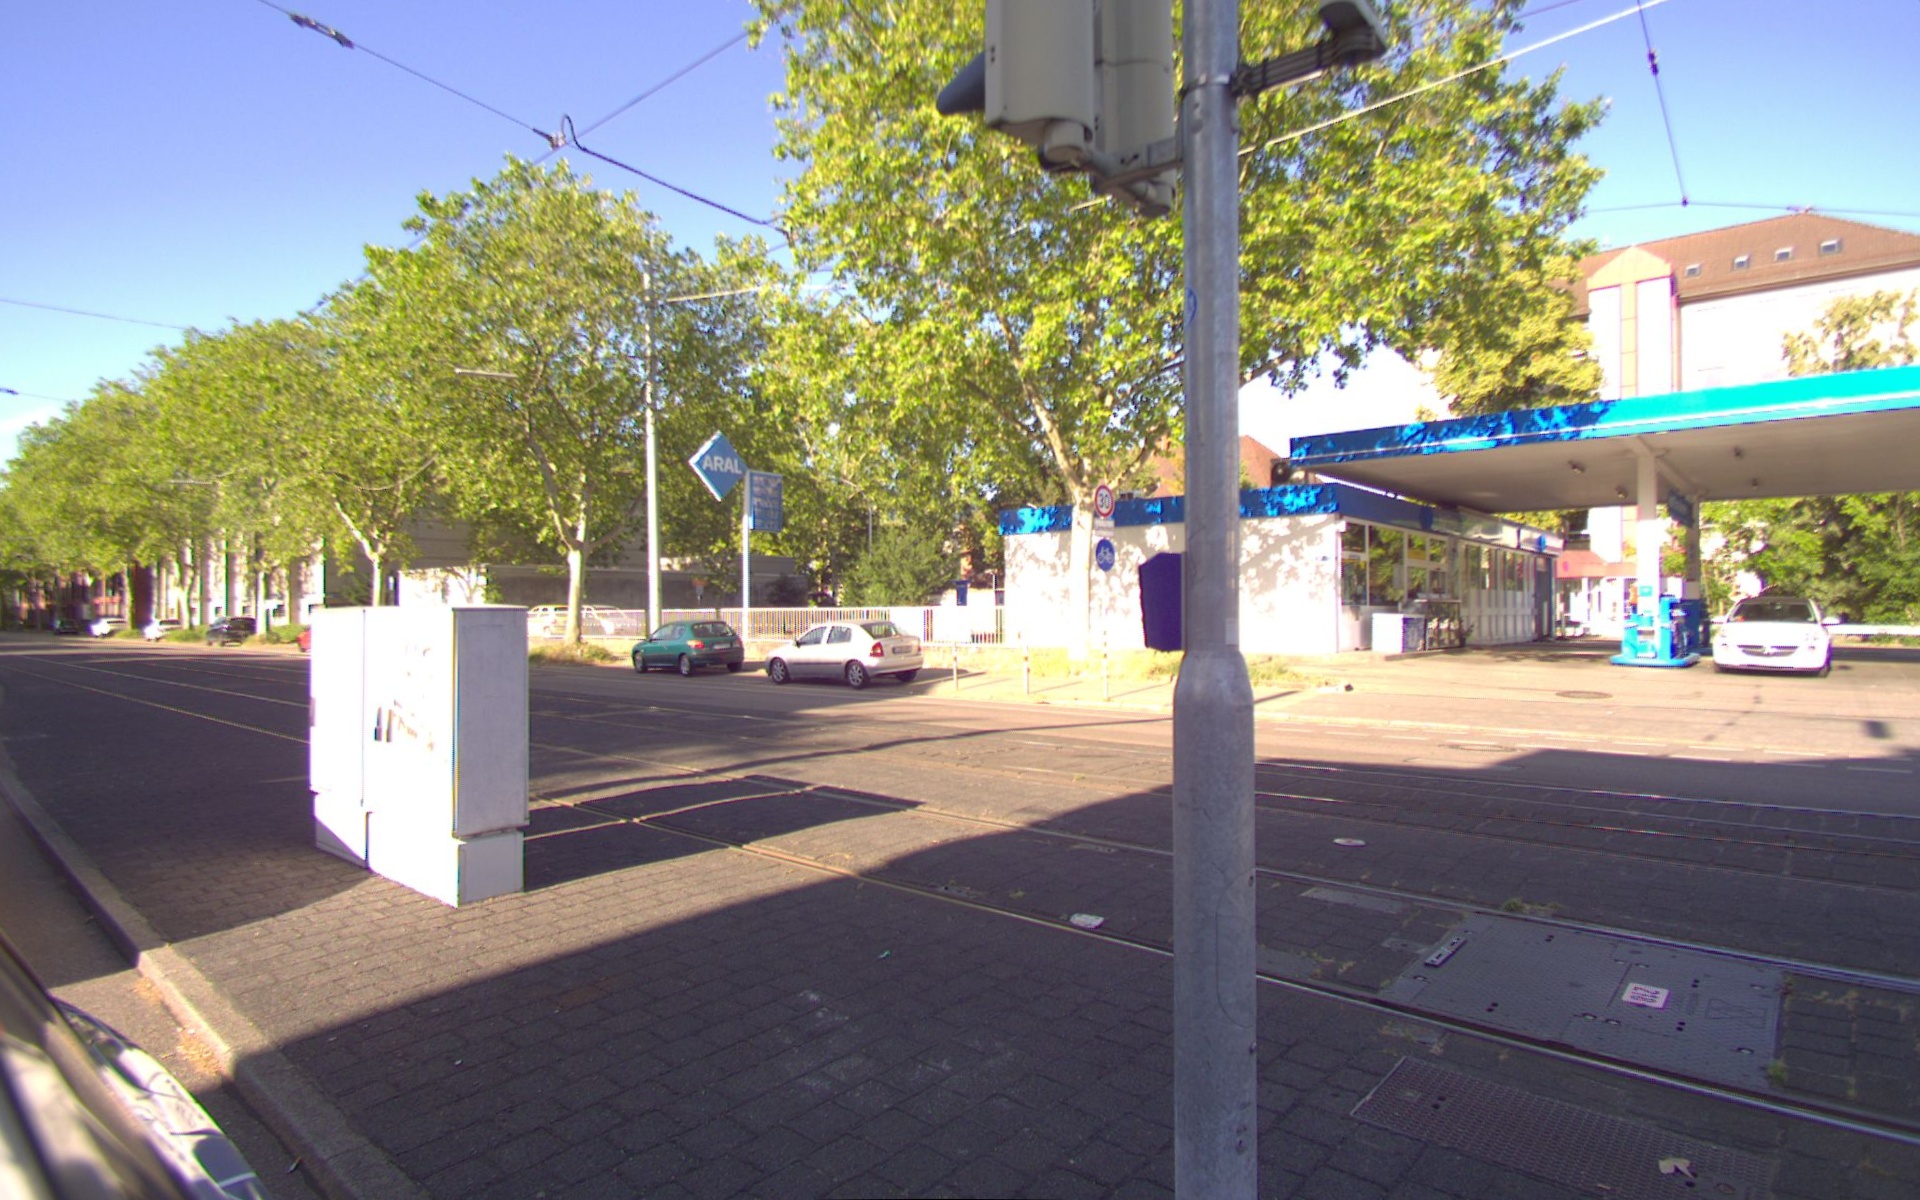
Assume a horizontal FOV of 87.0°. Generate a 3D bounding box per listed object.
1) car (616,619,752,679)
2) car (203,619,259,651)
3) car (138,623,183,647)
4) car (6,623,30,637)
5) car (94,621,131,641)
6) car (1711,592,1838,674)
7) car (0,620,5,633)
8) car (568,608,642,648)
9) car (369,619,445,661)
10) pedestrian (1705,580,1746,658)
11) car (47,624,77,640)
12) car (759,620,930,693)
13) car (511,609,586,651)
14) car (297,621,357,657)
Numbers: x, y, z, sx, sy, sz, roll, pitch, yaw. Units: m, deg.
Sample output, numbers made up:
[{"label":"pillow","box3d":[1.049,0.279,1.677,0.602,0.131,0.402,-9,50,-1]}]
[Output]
[{"label":"car","box3d":[-7.399,1.264,26.964,3.748,1.413,1.674,-1,1,41]},{"label":"car","box3d":[-40.675,1.938,56.446,3.748,1.670,1.674,-1,1,41]},{"label":"car","box3d":[-53.860,2.340,68.171,3.748,1.459,1.674,-1,1,41]},{"label":"car","box3d":[-112.139,3.561,120.496,3.748,1.459,1.674,-1,1,41]},{"label":"car","box3d":[-66.678,2.444,79.598,3.748,1.459,1.674,-1,1,41]},{"label":"car","box3d":[15.887,0.609,19.690,1.757,1.453,3.521,-1,-1,41]},{"label":"car","box3d":[-133.931,3.675,140.463,3.748,1.798,1.674,-1,1,41]},{"label":"car","box3d":[-15.264,1.193,43.440,3.303,1.604,1.579,-1,0,41]},{"label":"car","box3d":[-21.875,1.556,39.995,3.303,1.519,1.579,-1,1,41]},{"label":"pedestrian","box3d":[17.052,0.422,22.542,0.493,1.714,0.649,1,-2,-45]},{"label":"car","box3d":[-85.239,3.027,96.035,3.748,1.459,1.674,-1,1,41]},{"label":"car","box3d":[-2.635,1.203,22.636,3.812,1.413,1.674,-1,1,41]},{"label":"car","box3d":[-17.083,1.229,41.963,3.303,1.628,1.579,-1,0,41]},{"label":"car","box3d":[-28.685,1.754,45.823,2.621,1.519,1.579,-1,1,41]}]
